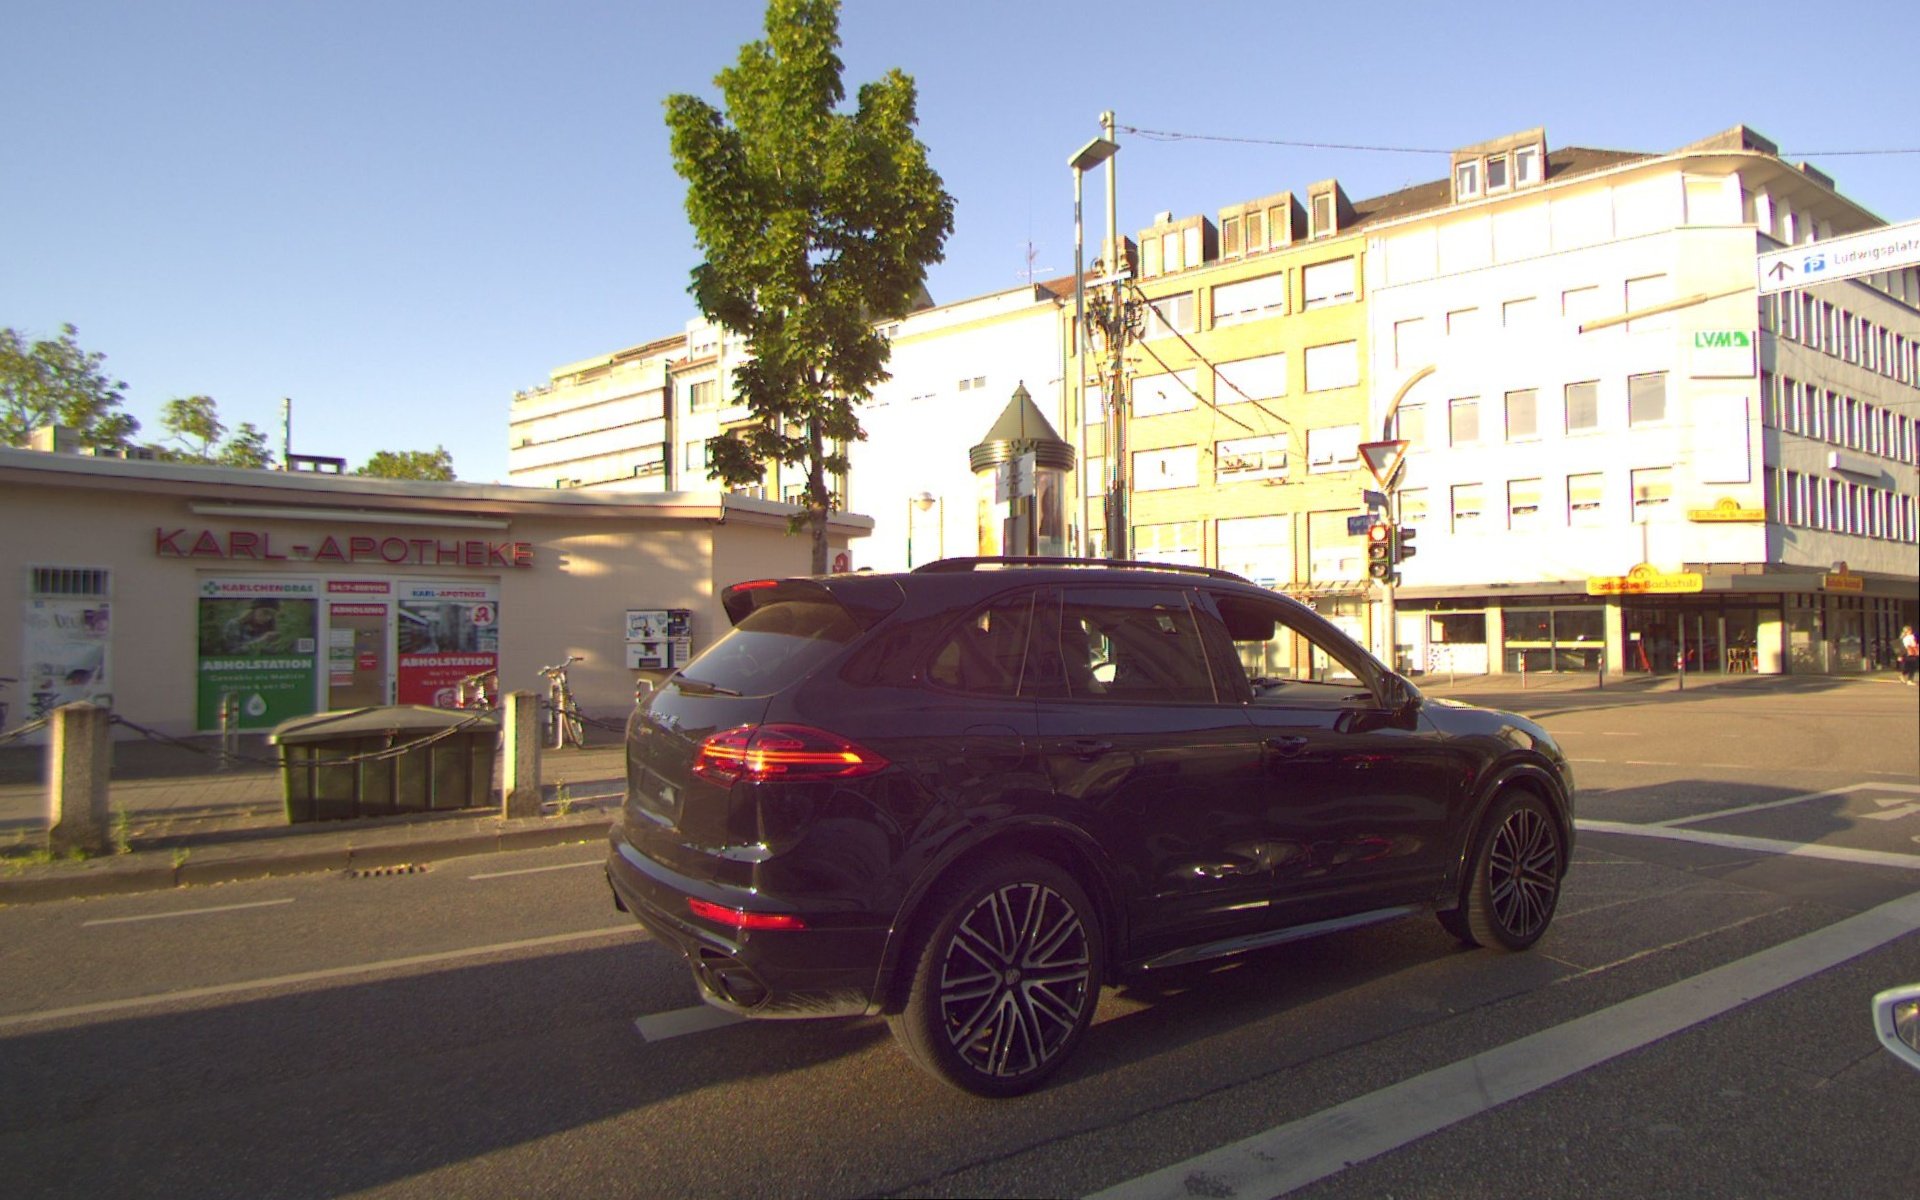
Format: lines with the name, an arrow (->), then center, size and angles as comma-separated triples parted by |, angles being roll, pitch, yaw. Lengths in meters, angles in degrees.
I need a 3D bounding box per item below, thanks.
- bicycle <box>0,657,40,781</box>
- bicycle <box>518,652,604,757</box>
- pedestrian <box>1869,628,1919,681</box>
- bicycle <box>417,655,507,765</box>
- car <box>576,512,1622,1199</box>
bicycle -> -10.336, 1.244, 10.498 | 0.625, 1.273, 1.846 | 1, -3, -29
bicycle -> -5.395, 1.338, 13.490 | 0.778, 1.273, 2.433 | 1, -3, -29
pedestrian -> 27.664, 1.604, 29.615 | 0.929, 1.557, 0.909 | -1, -2, 13
bicycle -> -6.449, 1.352, 12.949 | 0.938, 1.273, 1.997 | 1, -3, -29
car -> 0.793, 0.713, 4.573 | 4.509, 1.736, 1.939 | 1, -3, -31
